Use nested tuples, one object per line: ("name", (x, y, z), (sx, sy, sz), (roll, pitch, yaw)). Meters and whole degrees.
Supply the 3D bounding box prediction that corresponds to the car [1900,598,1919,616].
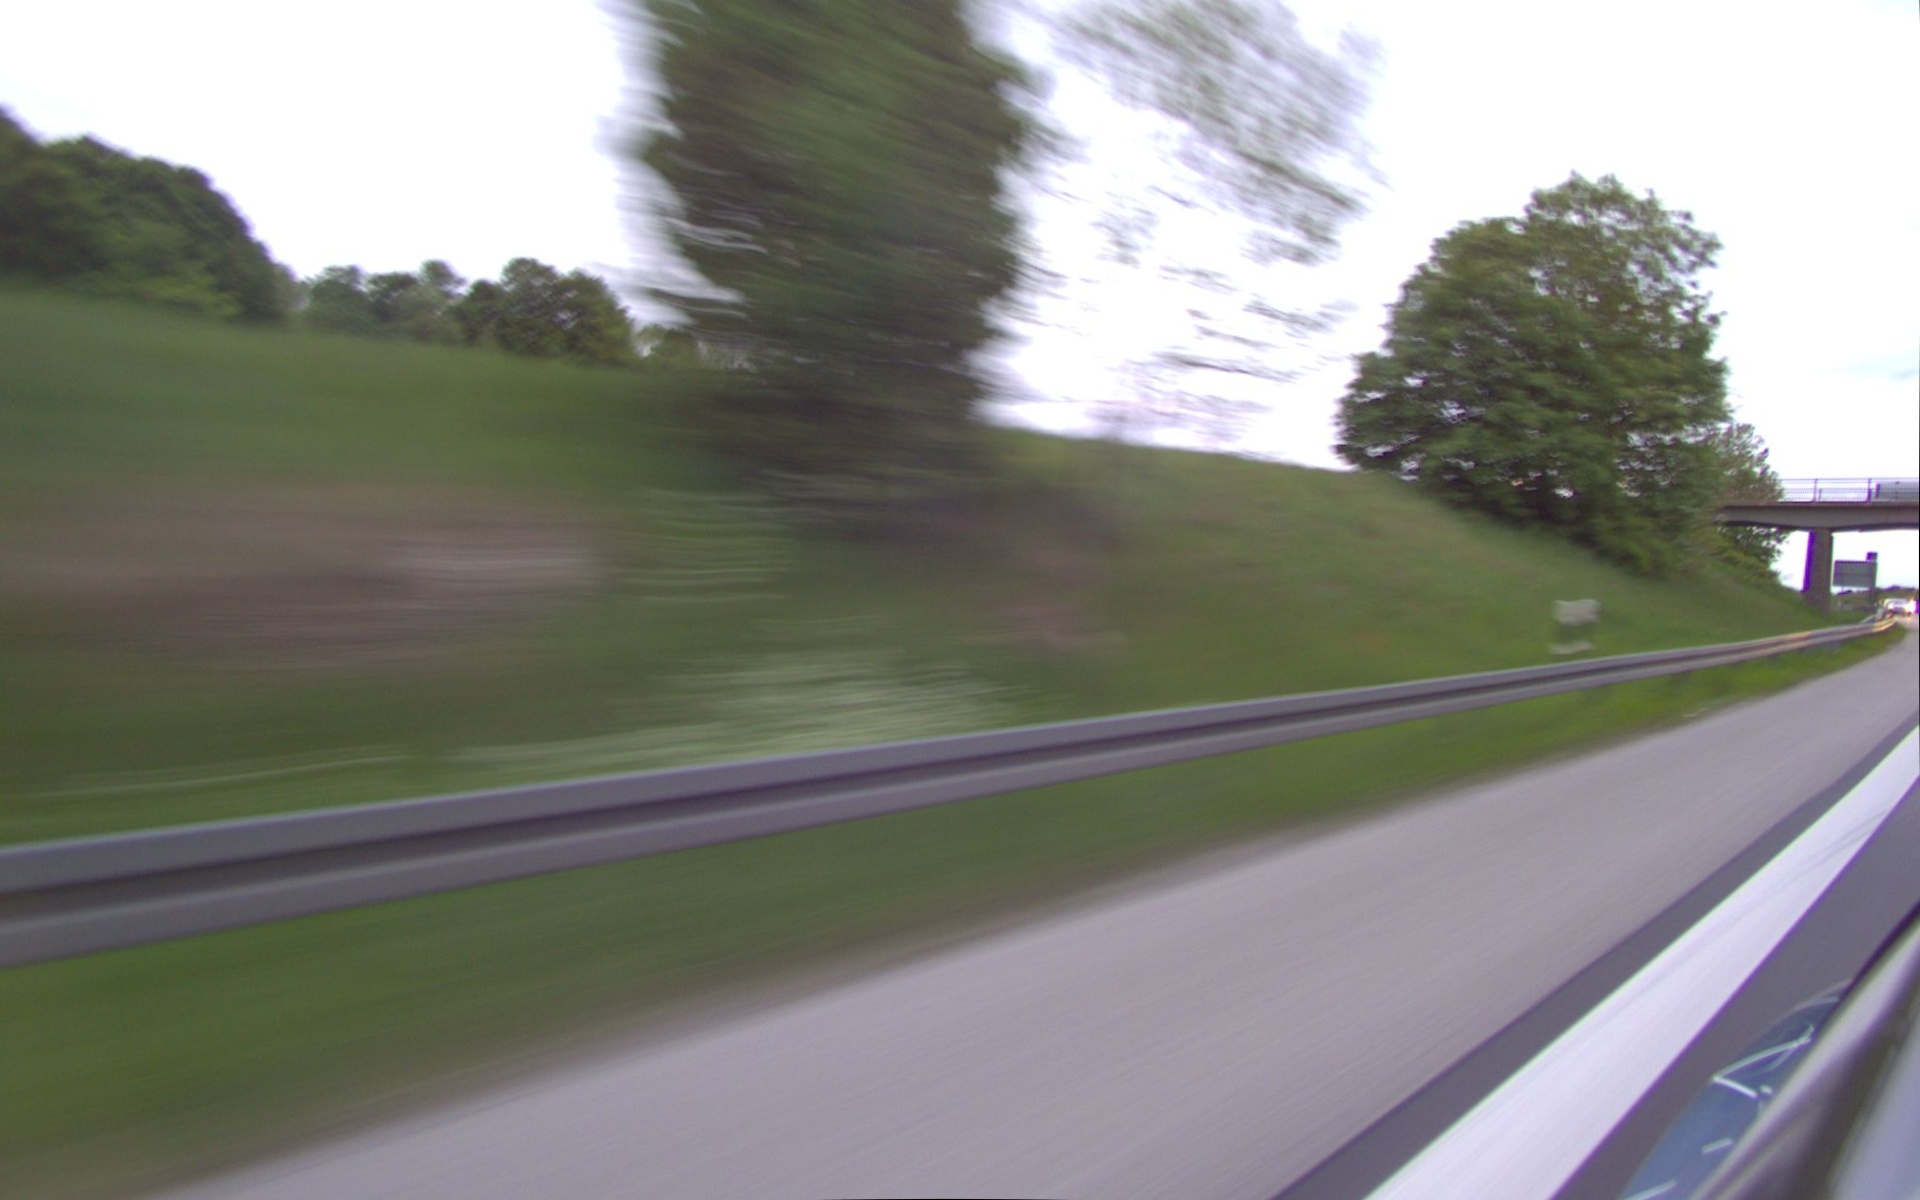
("car", (106.407, 0.837, 113.058), (1.914, 1.860, 3.939), (4, 1, 42))
